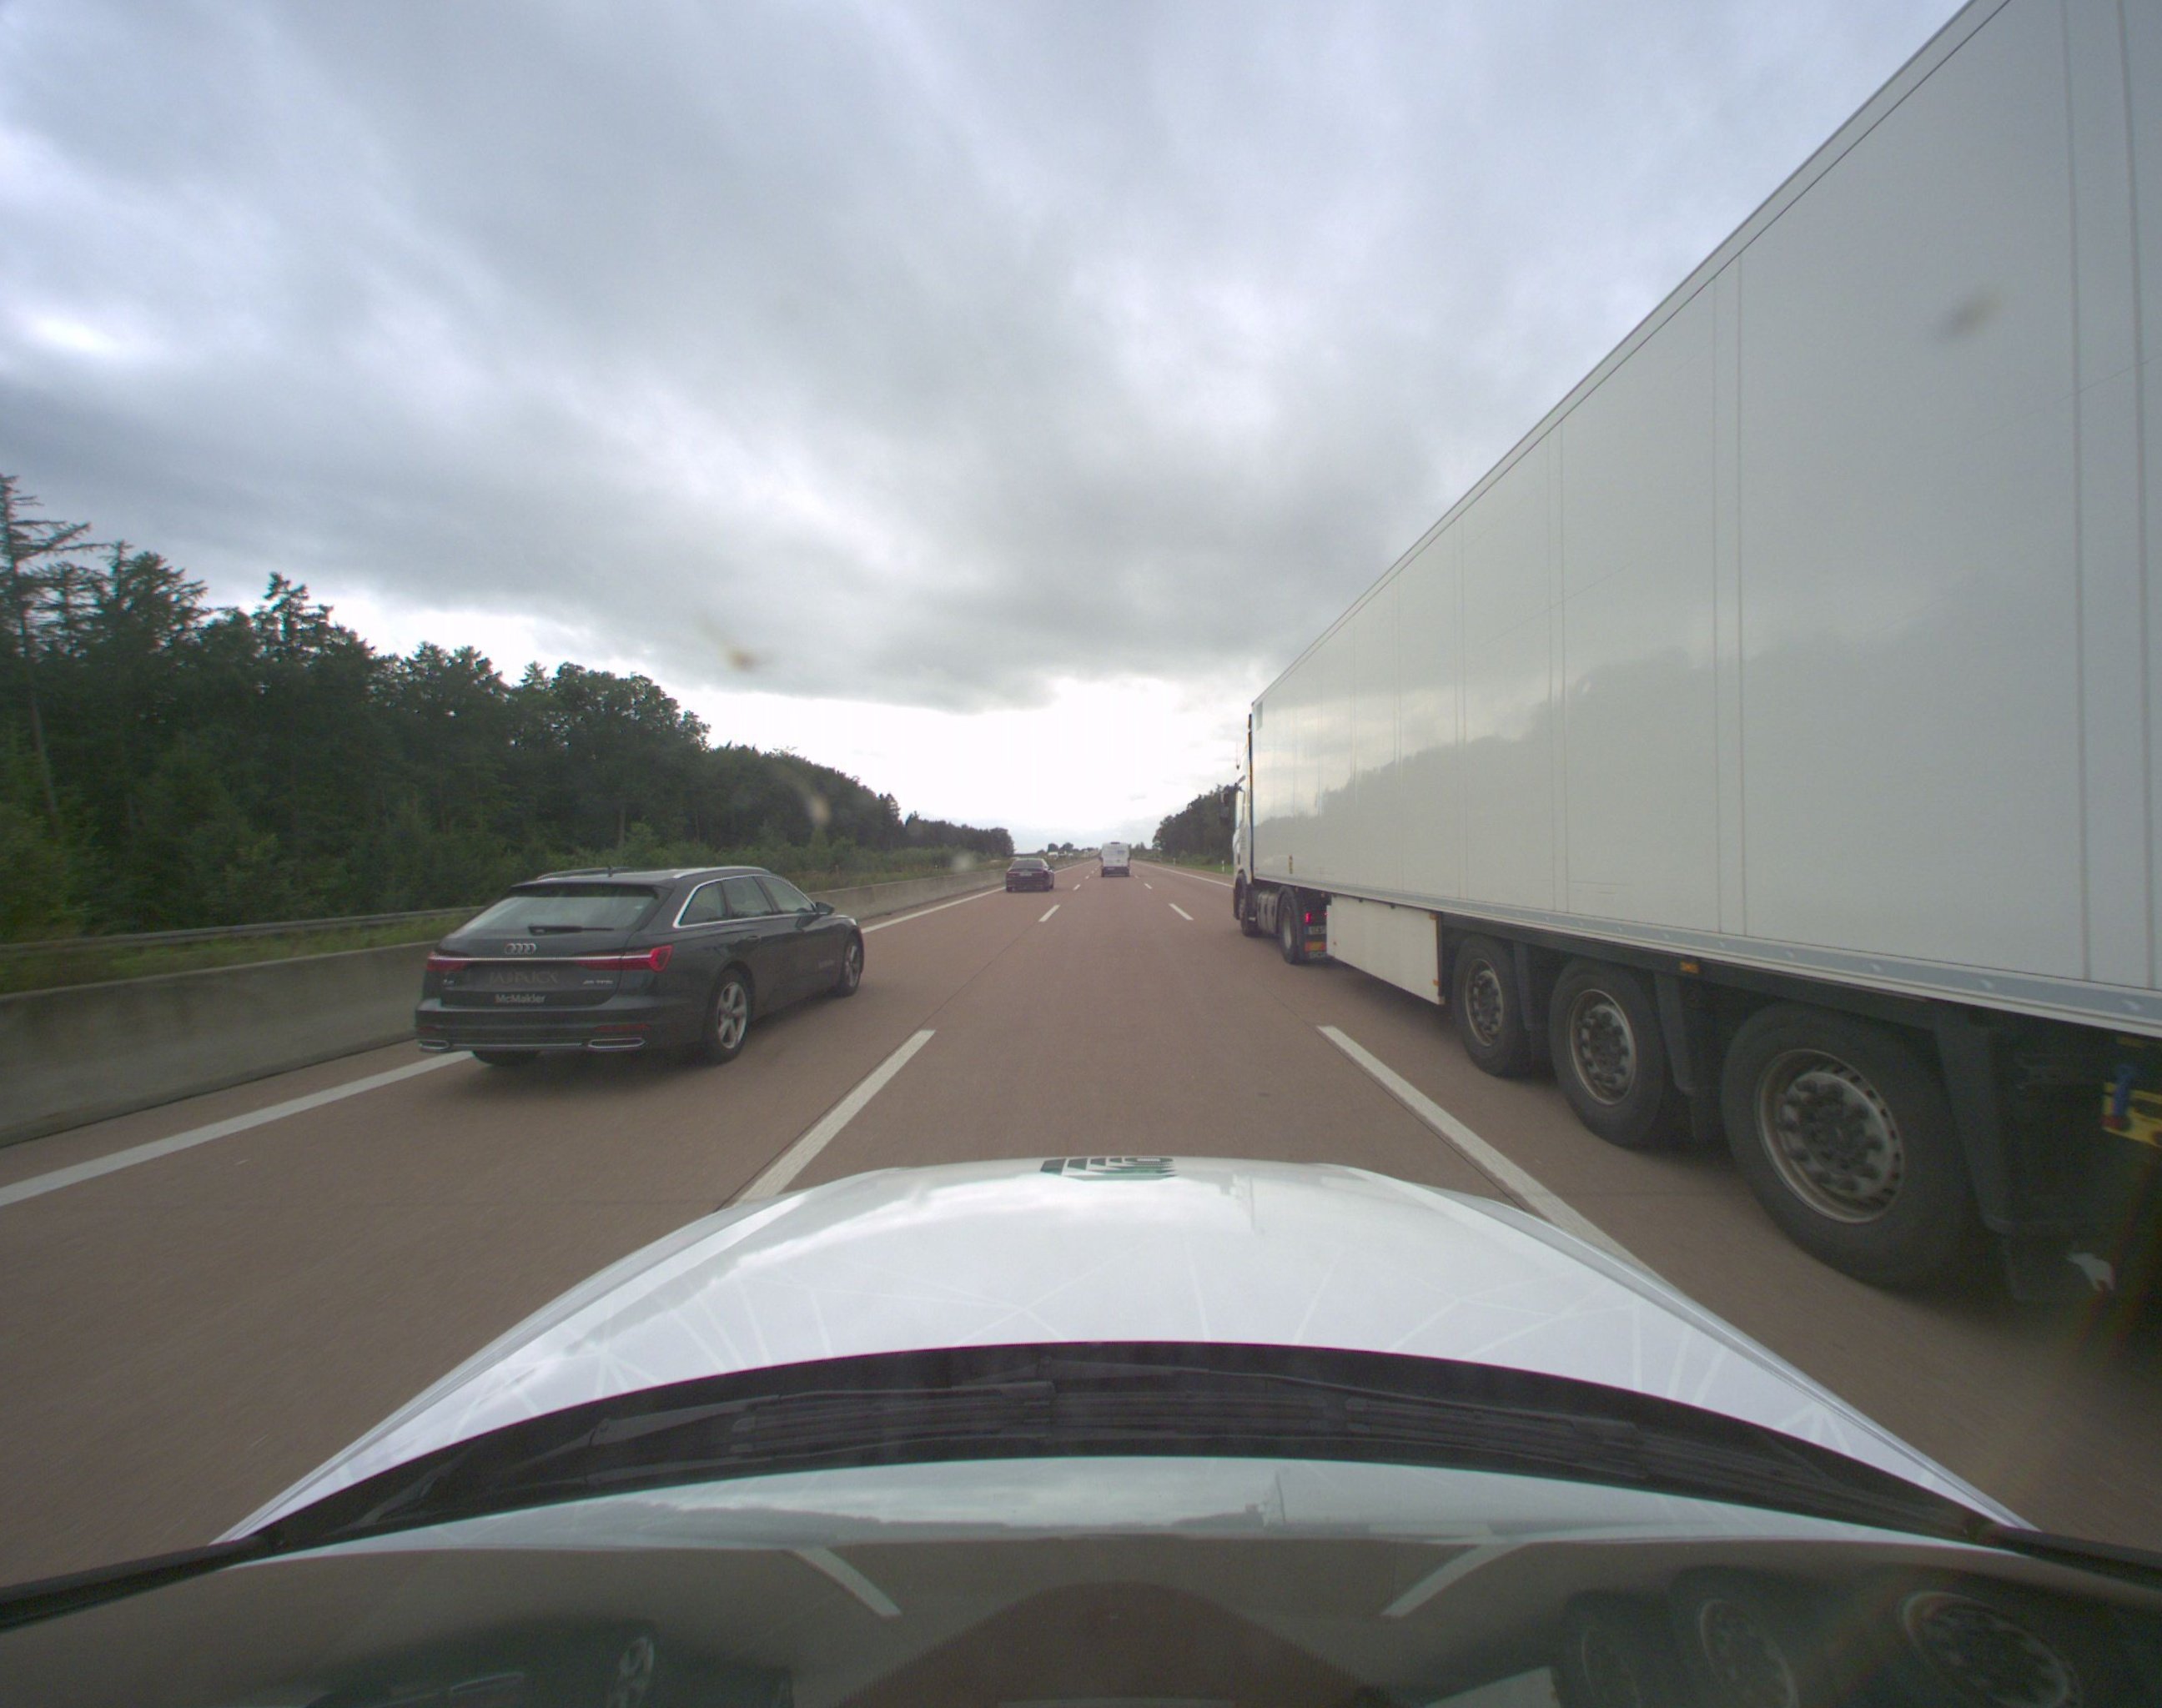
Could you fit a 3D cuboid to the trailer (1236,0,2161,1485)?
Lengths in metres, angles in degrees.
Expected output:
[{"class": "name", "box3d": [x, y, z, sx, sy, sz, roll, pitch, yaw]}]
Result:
[{"class": "trailer", "box3d": [3.996, -0.753, 7.338, 2.910, 4.294, 13.618, -1, 0, 2]}]

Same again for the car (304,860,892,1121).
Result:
[{"class": "car", "box3d": [-3.537, 0.839, 7.608, 2.051, 1.491, 5.456, -1, 0, 2]}]

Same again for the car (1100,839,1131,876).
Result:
[{"class": "car", "box3d": [2.541, 0.238, 59.864, 2.129, 2.507, 7.136, -1, 0, 2]}]

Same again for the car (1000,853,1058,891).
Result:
[{"class": "car", "box3d": [-2.240, 0.762, 36.741, 2.077, 1.550, 5.676, 0, 0, 2]}]

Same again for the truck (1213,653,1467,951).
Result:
[{"class": "truck", "box3d": [4.208, -0.755, 14.568, 2.910, 4.294, 5.336, -1, 0, 1]}]
